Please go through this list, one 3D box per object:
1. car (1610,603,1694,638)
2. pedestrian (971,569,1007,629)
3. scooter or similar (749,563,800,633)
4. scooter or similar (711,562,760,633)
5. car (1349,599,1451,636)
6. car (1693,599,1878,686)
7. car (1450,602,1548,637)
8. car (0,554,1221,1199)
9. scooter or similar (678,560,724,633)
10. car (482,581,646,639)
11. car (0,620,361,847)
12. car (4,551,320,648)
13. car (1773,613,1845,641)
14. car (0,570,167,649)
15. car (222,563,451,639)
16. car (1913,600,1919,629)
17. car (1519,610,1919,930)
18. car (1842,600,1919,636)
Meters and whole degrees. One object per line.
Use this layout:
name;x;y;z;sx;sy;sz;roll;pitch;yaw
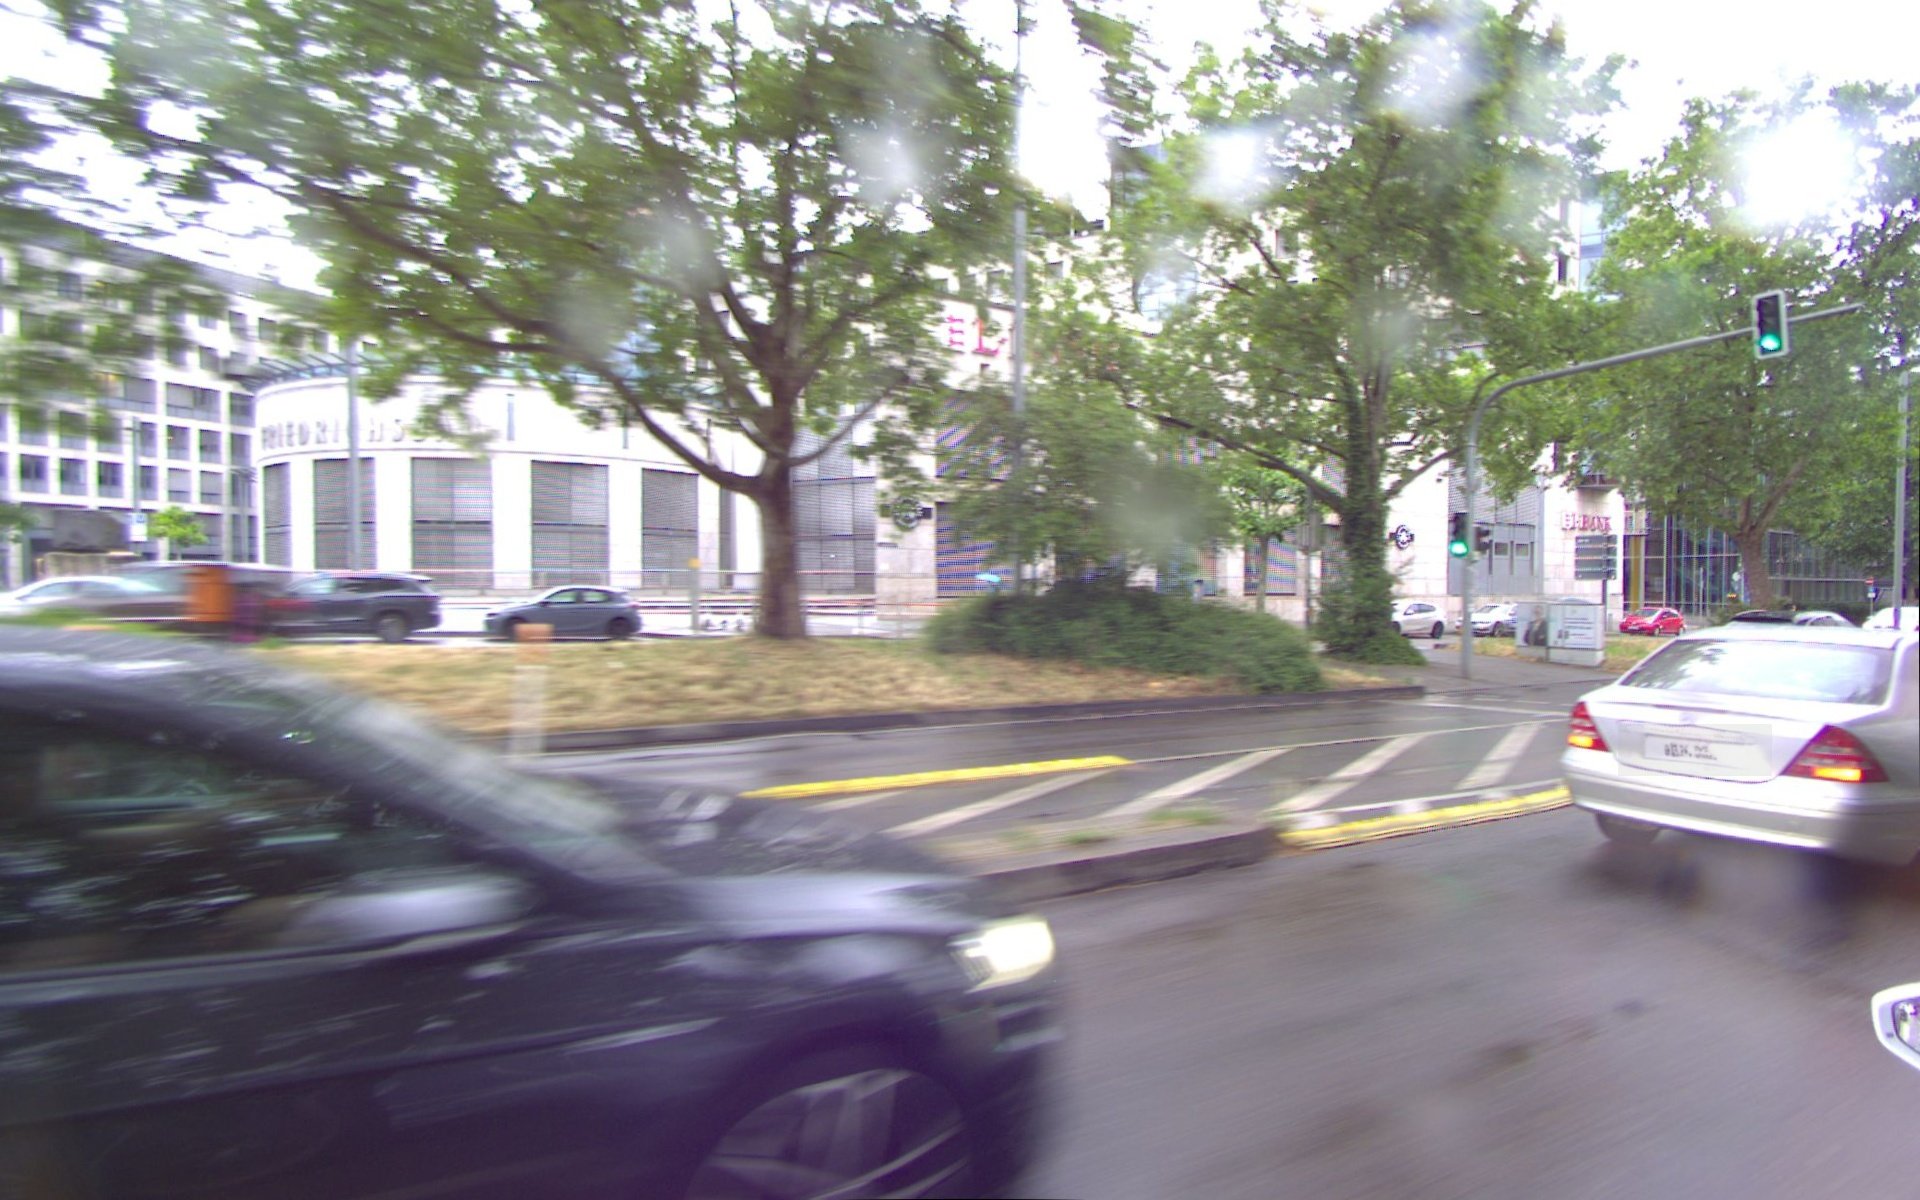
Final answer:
car;35.133;1.033;50.995;4.183;1.664;1.683;1;0;-26
pedestrian;1.012;-0.040;35.039;0.937;2.041;0.780;0;3;-34
scooter or similar;-5.747;-0.055;31.002;0.820;2.040;3.069;0;0;-24
scooter or similar;-6.835;-0.083;30.420;0.820;2.040;3.069;0;0;-24
car;17.960;0.706;40.966;3.944;1.422;1.546;1;0;-24
car;17.173;0.821;20.868;3.952;1.641;1.691;0;0;-30
car;23.715;0.857;44.203;4.183;1.422;1.683;1;0;-26
car;-1.576;0.698;2.000;4.081;1.482;1.683;1;-1;-30
scooter or similar;-7.744;-0.107;29.940;0.820;2.040;3.069;0;0;-24
car;-10.495;0.283;26.739;3.944;1.422;1.546;1;0;-24
car;-7.422;0.955;7.440;5.017;1.511;1.752;-1;0;-29
car;-14.317;0.023;18.347;4.237;1.611;1.544;1;0;-27
car;45.935;1.456;54.349;4.194;1.385;1.838;1;0;-33
car;-20.517;0.189;22.146;4.438;1.662;1.654;1;0;-24
car;-14.805;0.051;24.156;4.438;1.662;1.654;1;0;-24
car;64.498;0.962;65.988;4.451;1.934;1.784;1;-1;-33
car;5.680;0.829;6.483;4.294;1.482;1.683;1;-1;-30
car;40.980;0.794;44.208;4.298;1.482;2.147;1;-1;-33
